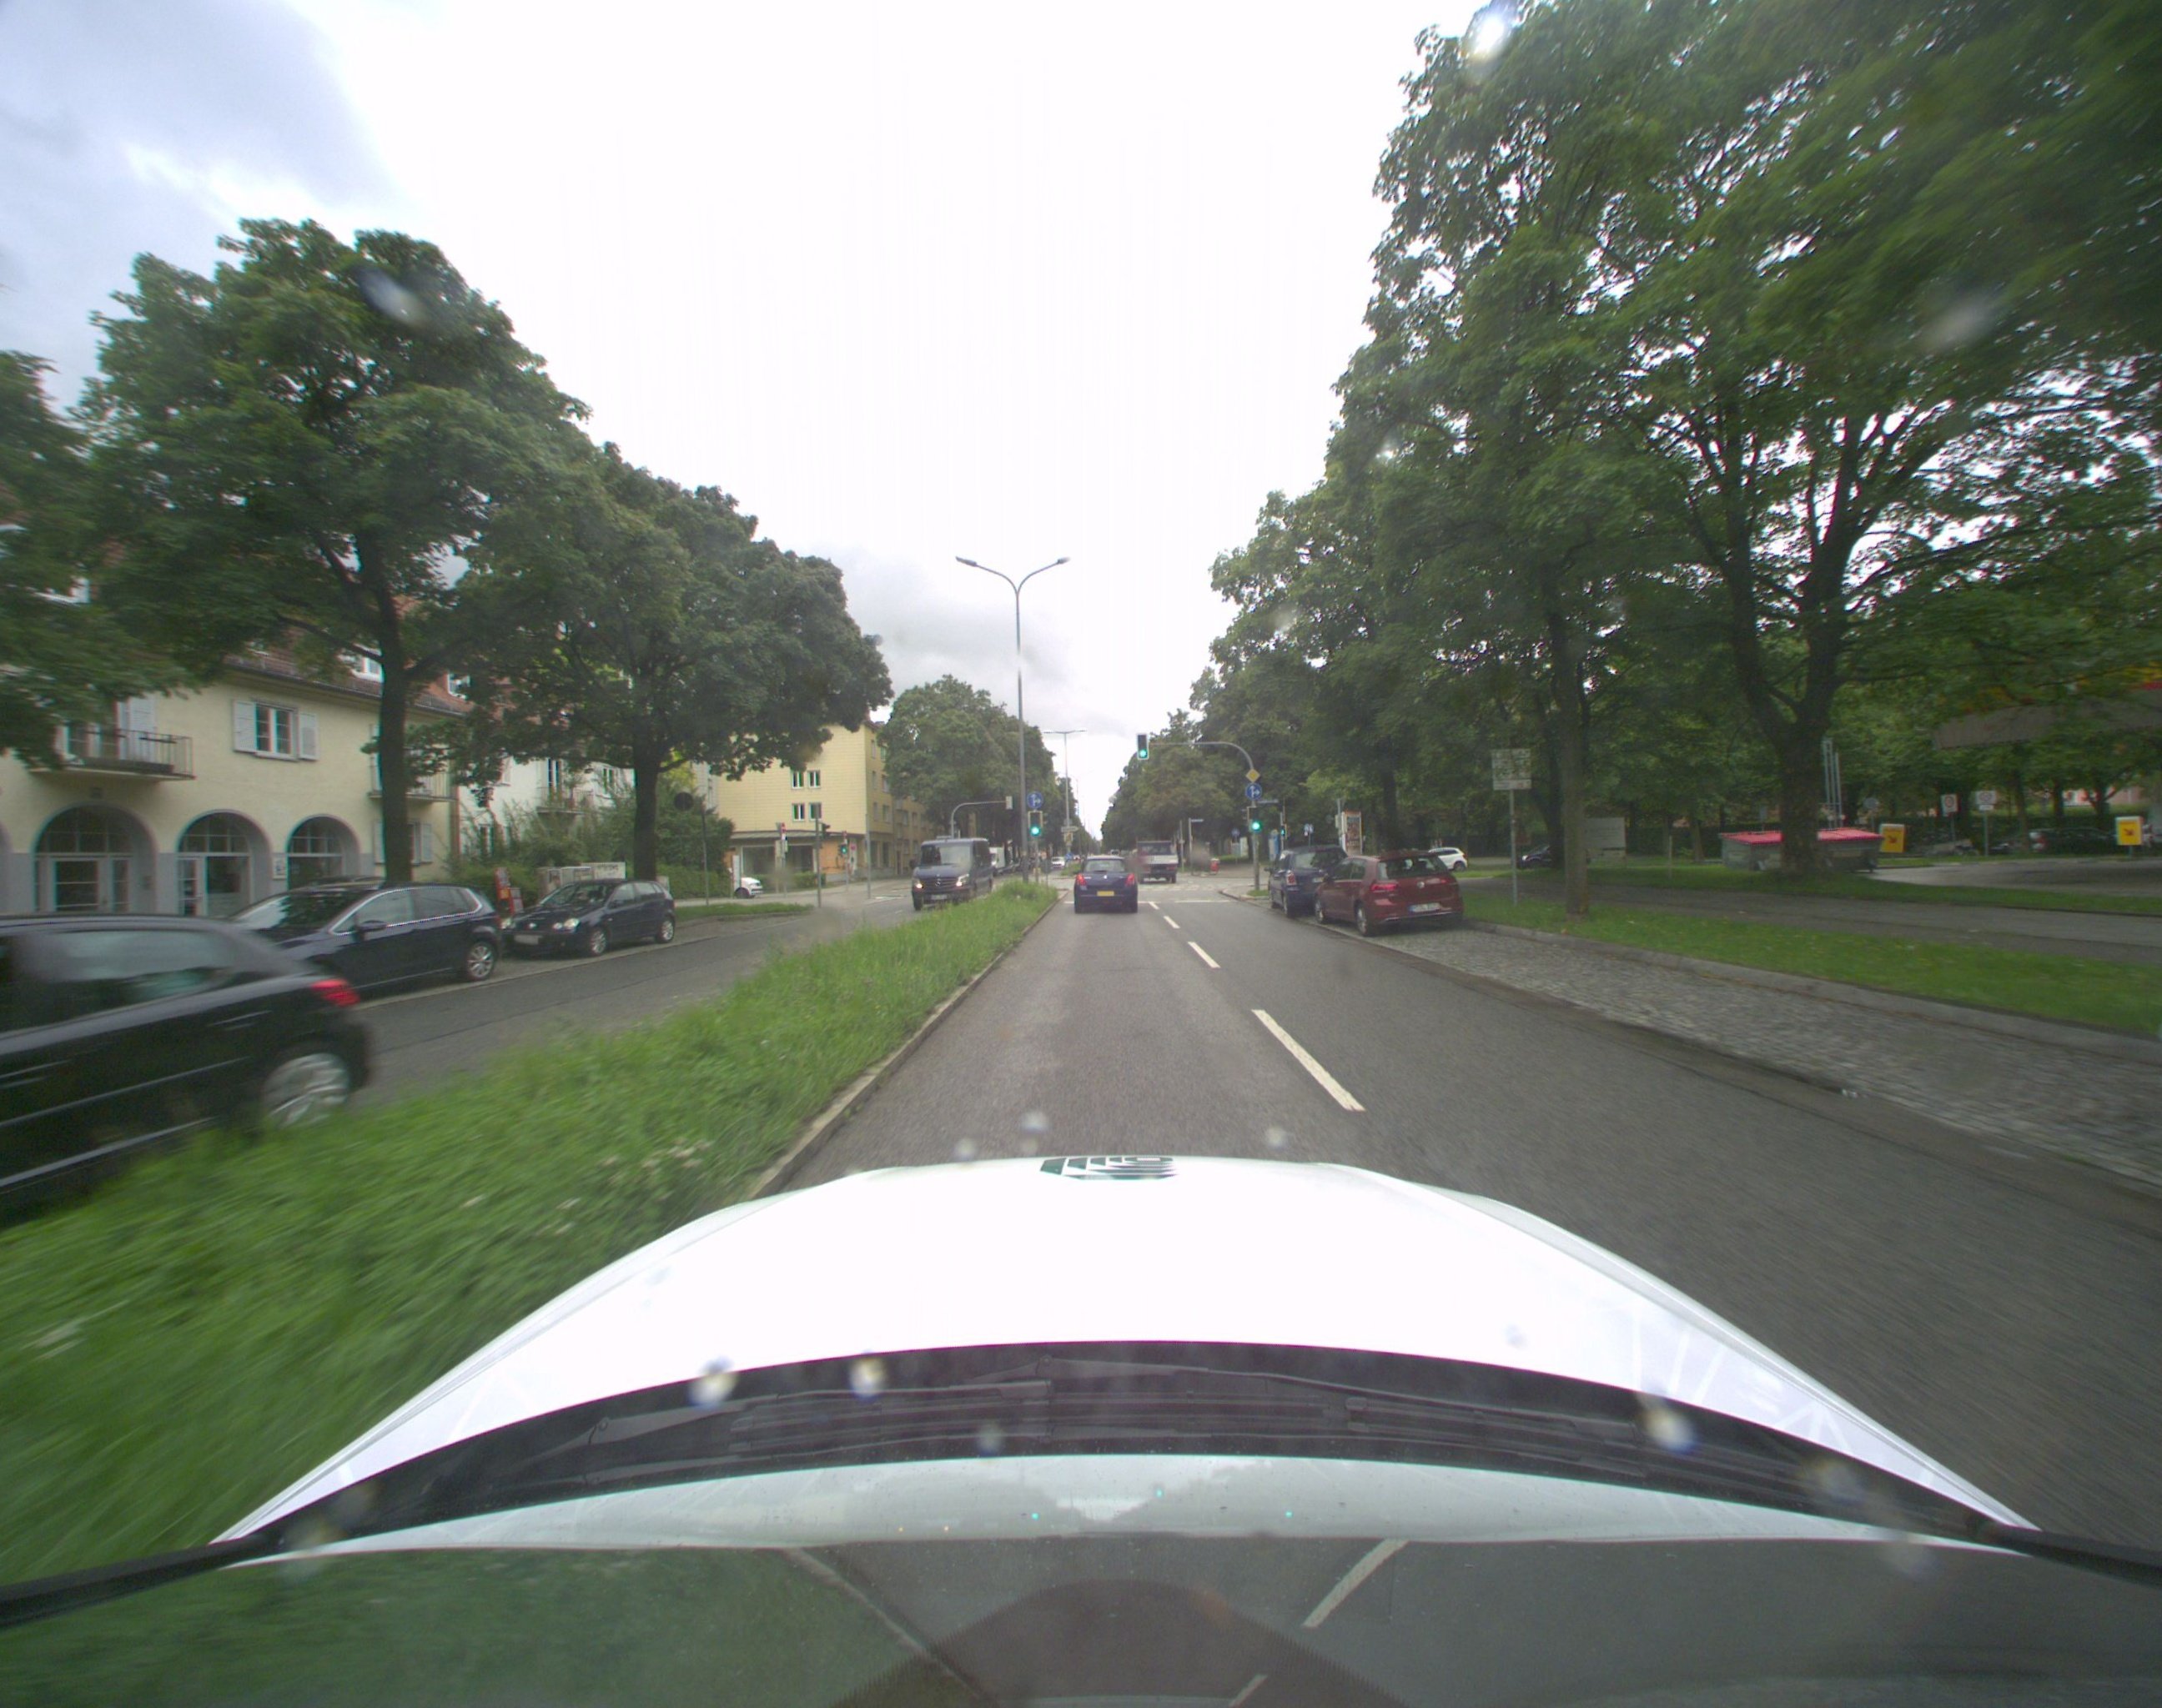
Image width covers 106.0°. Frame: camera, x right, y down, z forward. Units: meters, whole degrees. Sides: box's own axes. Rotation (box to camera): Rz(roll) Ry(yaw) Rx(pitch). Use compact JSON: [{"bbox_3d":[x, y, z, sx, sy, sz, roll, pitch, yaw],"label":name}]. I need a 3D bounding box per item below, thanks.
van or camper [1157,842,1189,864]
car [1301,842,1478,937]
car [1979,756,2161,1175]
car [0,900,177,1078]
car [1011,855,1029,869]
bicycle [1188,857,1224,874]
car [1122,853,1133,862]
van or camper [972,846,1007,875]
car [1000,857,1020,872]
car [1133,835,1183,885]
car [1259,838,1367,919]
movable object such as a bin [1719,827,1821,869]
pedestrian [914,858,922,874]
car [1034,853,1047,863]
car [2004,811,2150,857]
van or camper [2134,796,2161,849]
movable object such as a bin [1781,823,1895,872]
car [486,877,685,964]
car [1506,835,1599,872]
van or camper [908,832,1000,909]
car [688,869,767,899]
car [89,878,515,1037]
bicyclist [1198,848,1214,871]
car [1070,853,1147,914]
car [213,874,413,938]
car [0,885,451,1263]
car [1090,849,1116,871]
[{"bbox_3d":[7.948,-0.063,70.557,2.120,1.794,4.504,-1,0,-2],"label":"van or camper"},{"bbox_3d":[5.784,0.595,15.867,1.707,1.424,4.283,-6,0,0],"label":"car"},{"bbox_3d":[5.509,0.438,1.921,1.754,1.830,4.529,-4,0,1],"label":"car"},{"bbox_3d":[-10.230,1.213,6.231,1.660,1.445,4.376,1,0,1],"label":"car"},{"bbox_3d":[-7.036,0.919,94.646,1.630,1.442,3.736,-3,0,2],"label":"car"},{"bbox_3d":[8.323,0.757,54.226,2.288,1.114,0.997,-1,0,2],"label":"bicycle"},{"bbox_3d":[8.236,0.609,144.296,1.781,1.499,3.657,-1,0,-2],"label":"car"},{"bbox_3d":[-8.275,0.553,74.158,2.132,2.476,6.261,-3,0,2],"label":"van or camper"},{"bbox_3d":[-7.450,1.091,85.565,1.630,1.442,3.736,-3,0,2],"label":"car"},{"bbox_3d":[3.984,0.275,43.085,2.408,2.444,5.090,-1,0,3],"label":"car"},{"bbox_3d":[5.738,0.535,20.644,1.754,1.658,4.290,-6,0,6],"label":"car"},{"bbox_3d":[22.902,-0.201,27.128,2.052,1.263,1.532,-2,0,1],"label":"movable object such as a bin"},{"bbox_3d":[-15.094,1.107,75.385,0.626,1.440,0.806,0,-1,1],"label":"pedestrian"},{"bbox_3d":[-5.967,0.611,120.454,1.630,1.442,3.736,-3,0,2],"label":"car"},{"bbox_3d":[45.388,-0.897,37.196,4.008,1.610,1.773,-6,0,8],"label":"car"},{"bbox_3d":[52.098,-1.668,36.798,5.060,2.362,2.567,-6,0,8],"label":"van or camper"},{"bbox_3d":[25.123,-0.220,27.095,2.053,1.486,1.838,-2,0,1],"label":"movable object such as a bin"},{"bbox_3d":[-9.999,1.264,16.815,1.557,1.450,3.841,1,0,3],"label":"car"},{"bbox_3d":[25.861,-0.048,44.801,3.858,1.610,1.937,-6,0,8],"label":"car"},{"bbox_3d":[-4.194,0.510,27.964,2.016,2.260,6.022,-3,0,1],"label":"van or camper"},{"bbox_3d":[-20.687,1.743,47.791,3.859,1.562,1.669,-2,0,-5],"label":"car"},{"bbox_3d":[-10.070,1.199,11.117,1.661,1.562,4.297,-2,0,-1],"label":"car"},{"bbox_3d":[8.303,0.376,54.227,0.927,1.479,0.991,-1,0,3],"label":"bicyclist"},{"bbox_3d":[0.678,0.752,22.508,1.891,1.499,3.658,-1,0,-2],"label":"car"},{"bbox_3d":[-20.376,1.360,21.725,3.622,1.462,1.671,-2,0,-1],"label":"car"},{"bbox_3d":[-5.284,0.984,3.579,1.731,1.442,4.103,-3,0,1],"label":"car"},{"bbox_3d":[1.609,0.403,59.799,1.793,1.499,3.660,-2,0,1],"label":"car"}]
